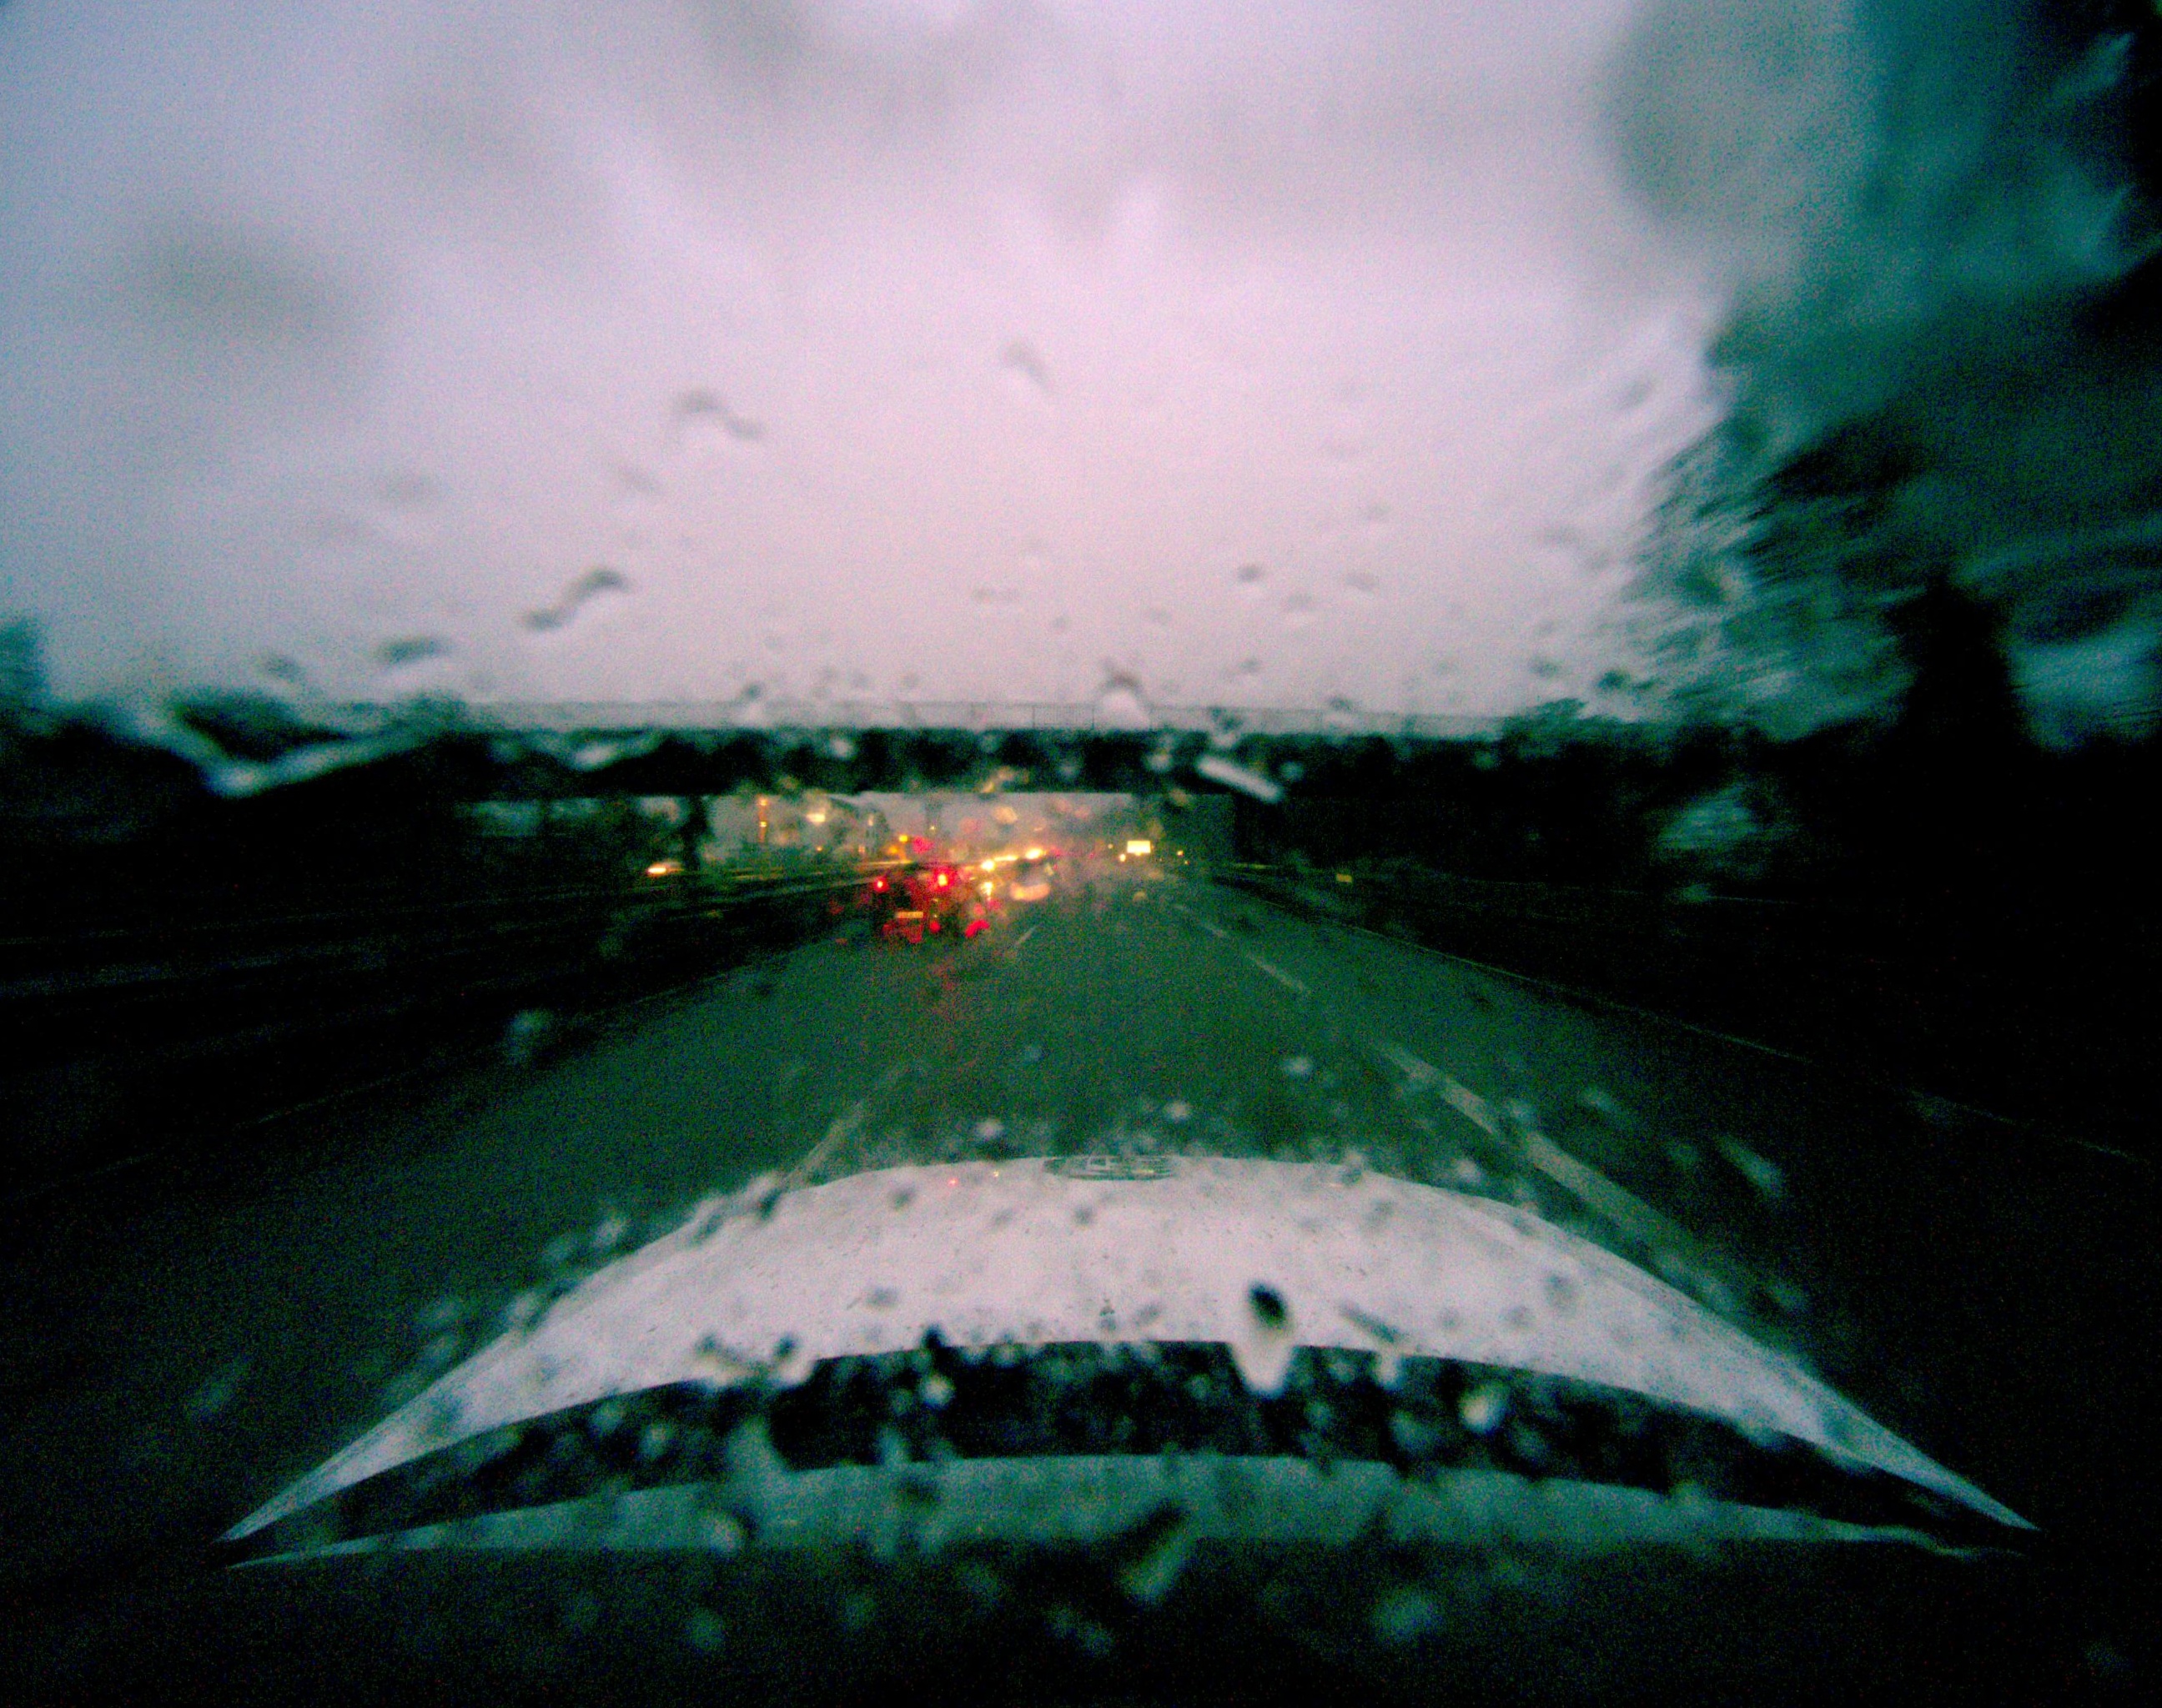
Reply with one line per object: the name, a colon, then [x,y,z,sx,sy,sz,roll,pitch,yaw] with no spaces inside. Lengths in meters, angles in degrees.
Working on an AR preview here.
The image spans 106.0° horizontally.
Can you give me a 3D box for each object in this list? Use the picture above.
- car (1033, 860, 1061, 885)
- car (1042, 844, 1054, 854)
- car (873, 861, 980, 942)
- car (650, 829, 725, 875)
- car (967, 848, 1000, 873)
car: [-2.360,1.261,56.940,1.771,1.534,4.699,-3,-1,-1]
car: [-6.847,-0.998,169.245,2.120,2.120,3.568,1,0,-6]
car: [-3.113,0.903,17.003,1.522,1.415,3.479,1,1,0]
car: [-25.340,-0.152,52.659,2.179,2.772,4.585,2,1,5]
car: [-8.069,0.498,67.907,1.987,1.873,5.270,2,1,0]
